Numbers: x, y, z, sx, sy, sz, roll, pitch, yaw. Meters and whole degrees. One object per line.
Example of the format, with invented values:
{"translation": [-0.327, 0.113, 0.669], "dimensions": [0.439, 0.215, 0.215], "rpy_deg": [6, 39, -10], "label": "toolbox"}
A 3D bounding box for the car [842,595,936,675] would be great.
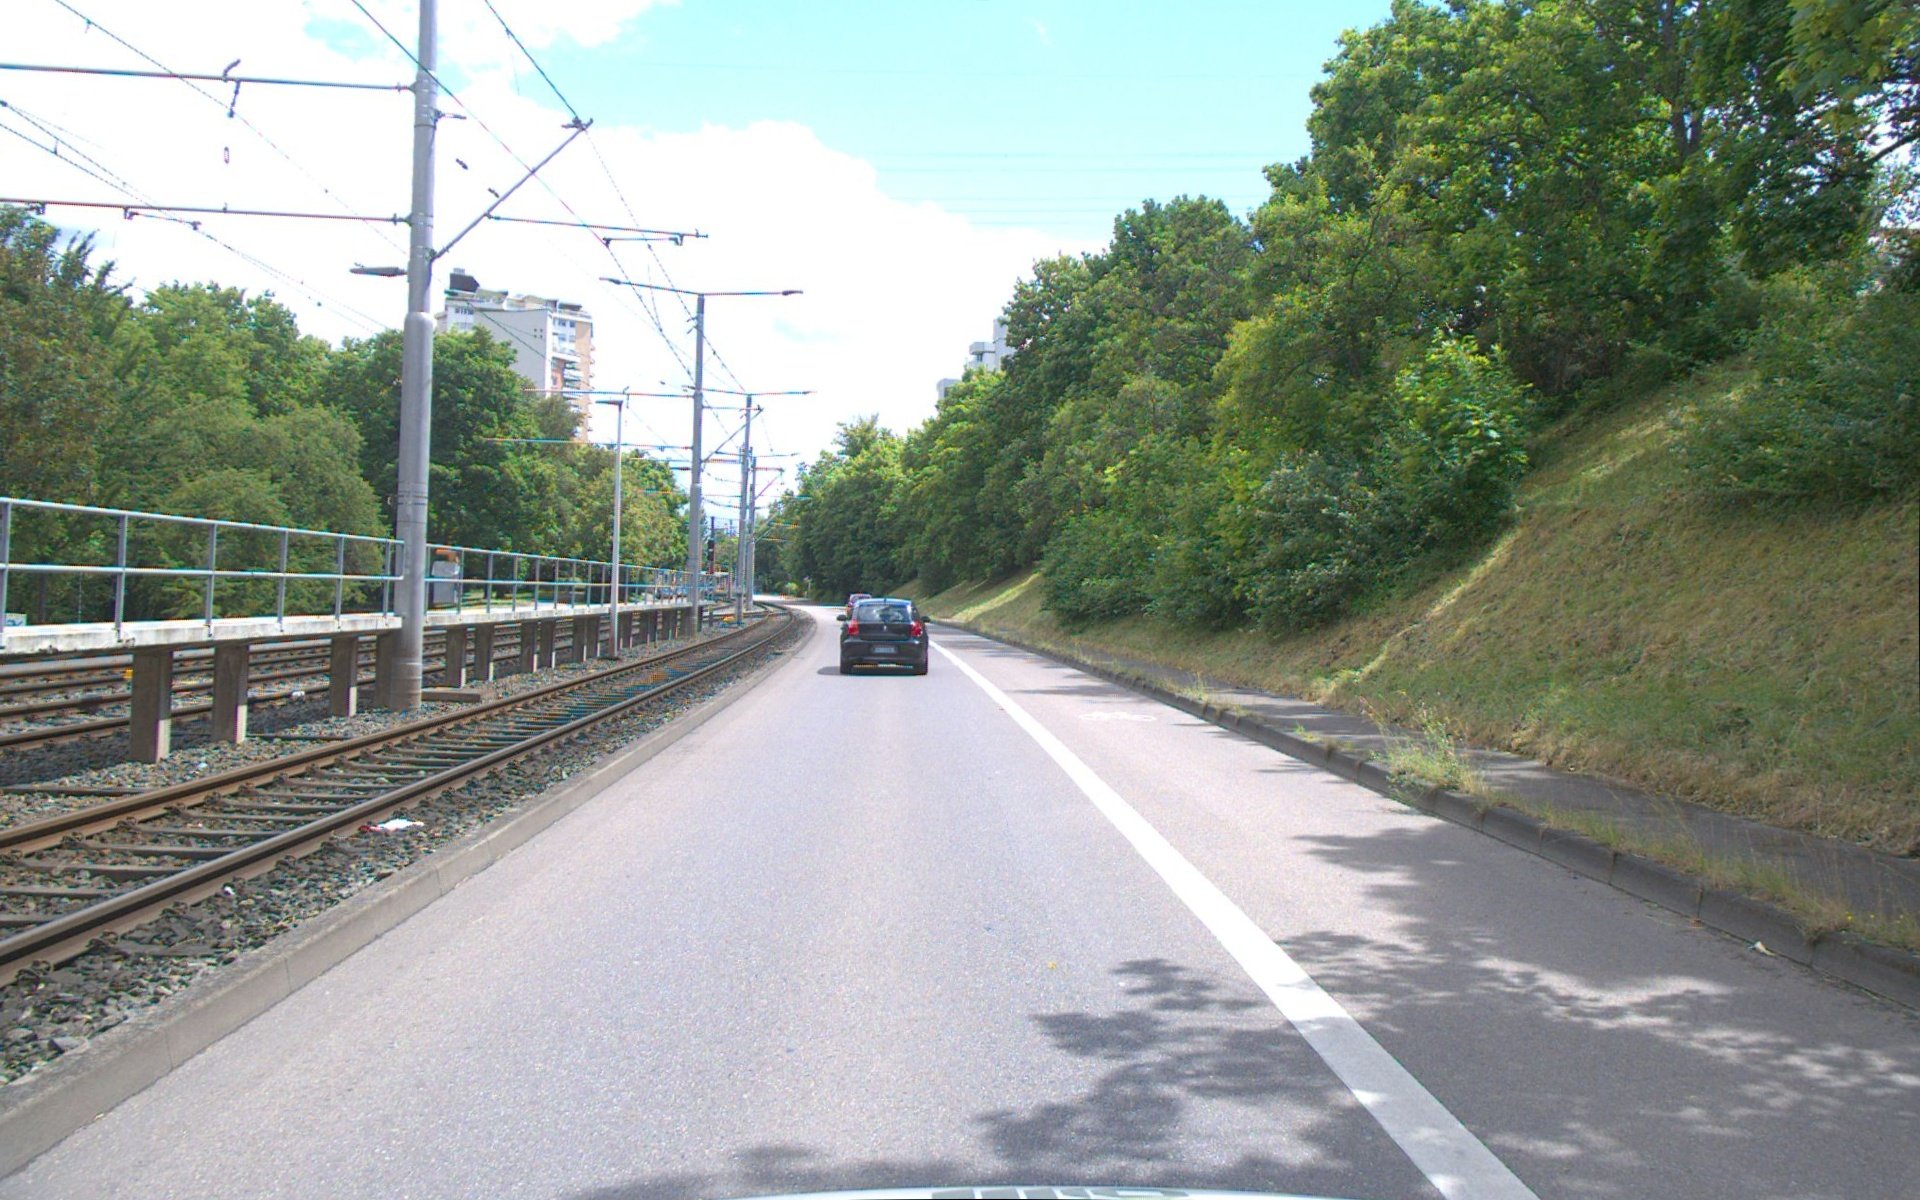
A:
{"translation": [-1.422, 0.655, 32.717], "dimensions": [1.746, 1.485, 3.918], "rpy_deg": [0, 0, -3], "label": "car"}

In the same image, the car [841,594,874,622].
{"translation": [-5.749, 0.456, 92.039], "dimensions": [1.746, 1.485, 3.917], "rpy_deg": [1, 0, -5], "label": "car"}
